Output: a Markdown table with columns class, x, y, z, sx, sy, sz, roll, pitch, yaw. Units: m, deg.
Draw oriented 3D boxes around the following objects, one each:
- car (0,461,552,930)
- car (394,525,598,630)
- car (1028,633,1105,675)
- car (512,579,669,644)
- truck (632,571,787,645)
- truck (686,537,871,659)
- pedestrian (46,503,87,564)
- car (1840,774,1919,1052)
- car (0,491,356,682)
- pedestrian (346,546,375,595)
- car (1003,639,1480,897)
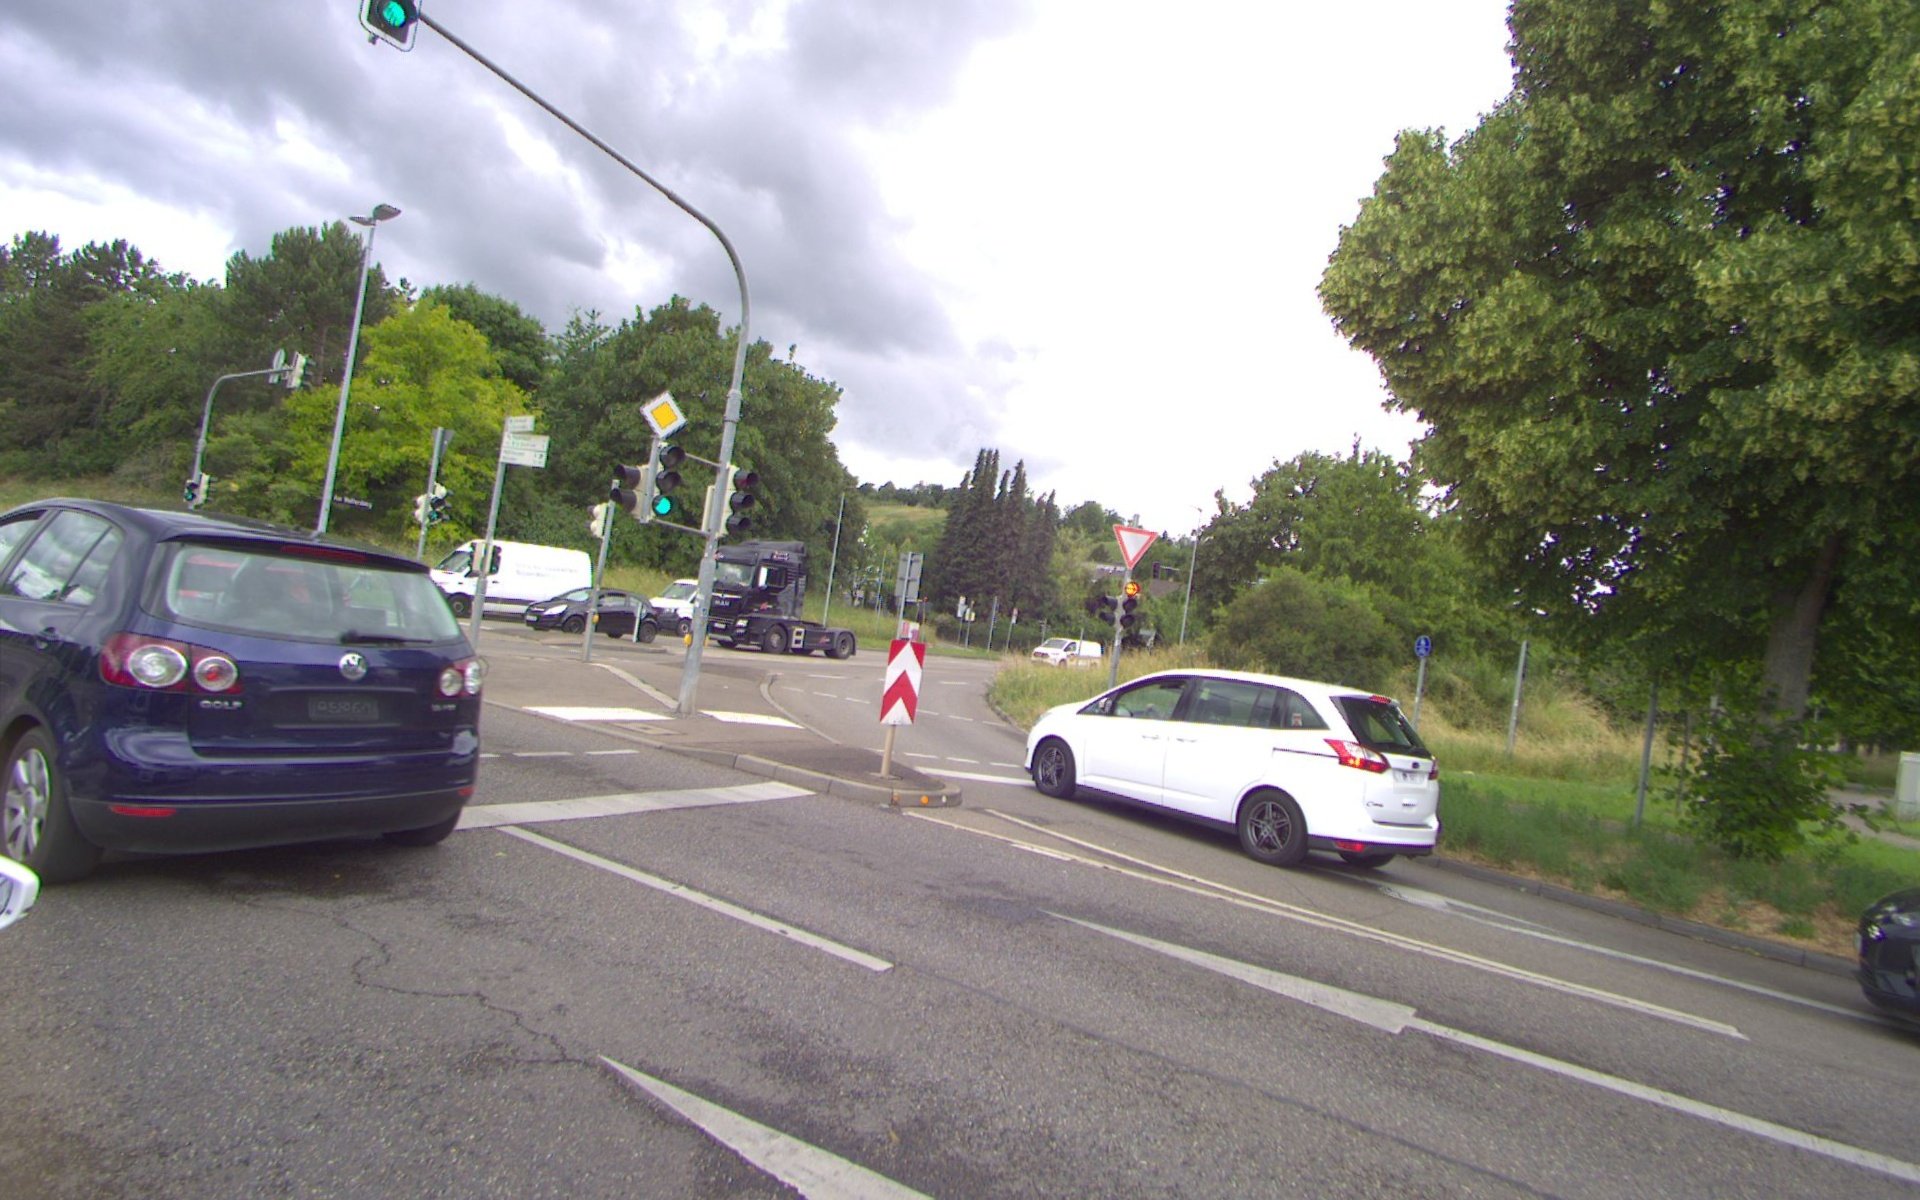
| class | x | y | z | sx | sy | sz | roll | pitch | yaw |
| --- | --- | --- | --- | --- | --- | --- | --- | --- | --- |
| car | -4.192 | 0.250 | 5.250 | 3.930 | 1.617 | 1.668 | 6 | -2 | 31 |
| car | -15.307 | -0.659 | 33.606 | 1.968 | 2.660 | 5.814 | 6 | -2 | 34 |
| car | 6.352 | 3.242 | 59.598 | 1.971 | 1.927 | 4.945 | 6 | -3 | 39 |
| car | -10.537 | 0.377 | 28.925 | 1.669 | 1.353 | 3.882 | 6 | -3 | 34 |
| truck | -10.113 | 0.405 | 41.110 | 2.128 | 2.255 | 6.028 | 6 | -2 | 35 |
| truck | -6.212 | 0.039 | 35.363 | 2.648 | 3.527 | 6.004 | 6 | -1 | 34 |
| pedestrian | -26.401 | -1.973 | 29.714 | 0.703 | 1.681 | 0.644 | 6 | -1 | 39 |
| car | 7.165 | 2.030 | 5.354 | 3.511 | 1.521 | 1.605 | 6 | -5 | 38 |
| car | -9.018 | -0.184 | 11.370 | 4.304 | 1.548 | 1.851 | 7 | -2 | 32 |
| pedestrian | -21.008 | -1.024 | 35.240 | 0.641 | 1.630 | 0.706 | 8 | -1 | -37 |
| car | 2.587 | 1.525 | 10.234 | 1.751 | 1.673 | 4.325 | 10 | -3 | -37 |
